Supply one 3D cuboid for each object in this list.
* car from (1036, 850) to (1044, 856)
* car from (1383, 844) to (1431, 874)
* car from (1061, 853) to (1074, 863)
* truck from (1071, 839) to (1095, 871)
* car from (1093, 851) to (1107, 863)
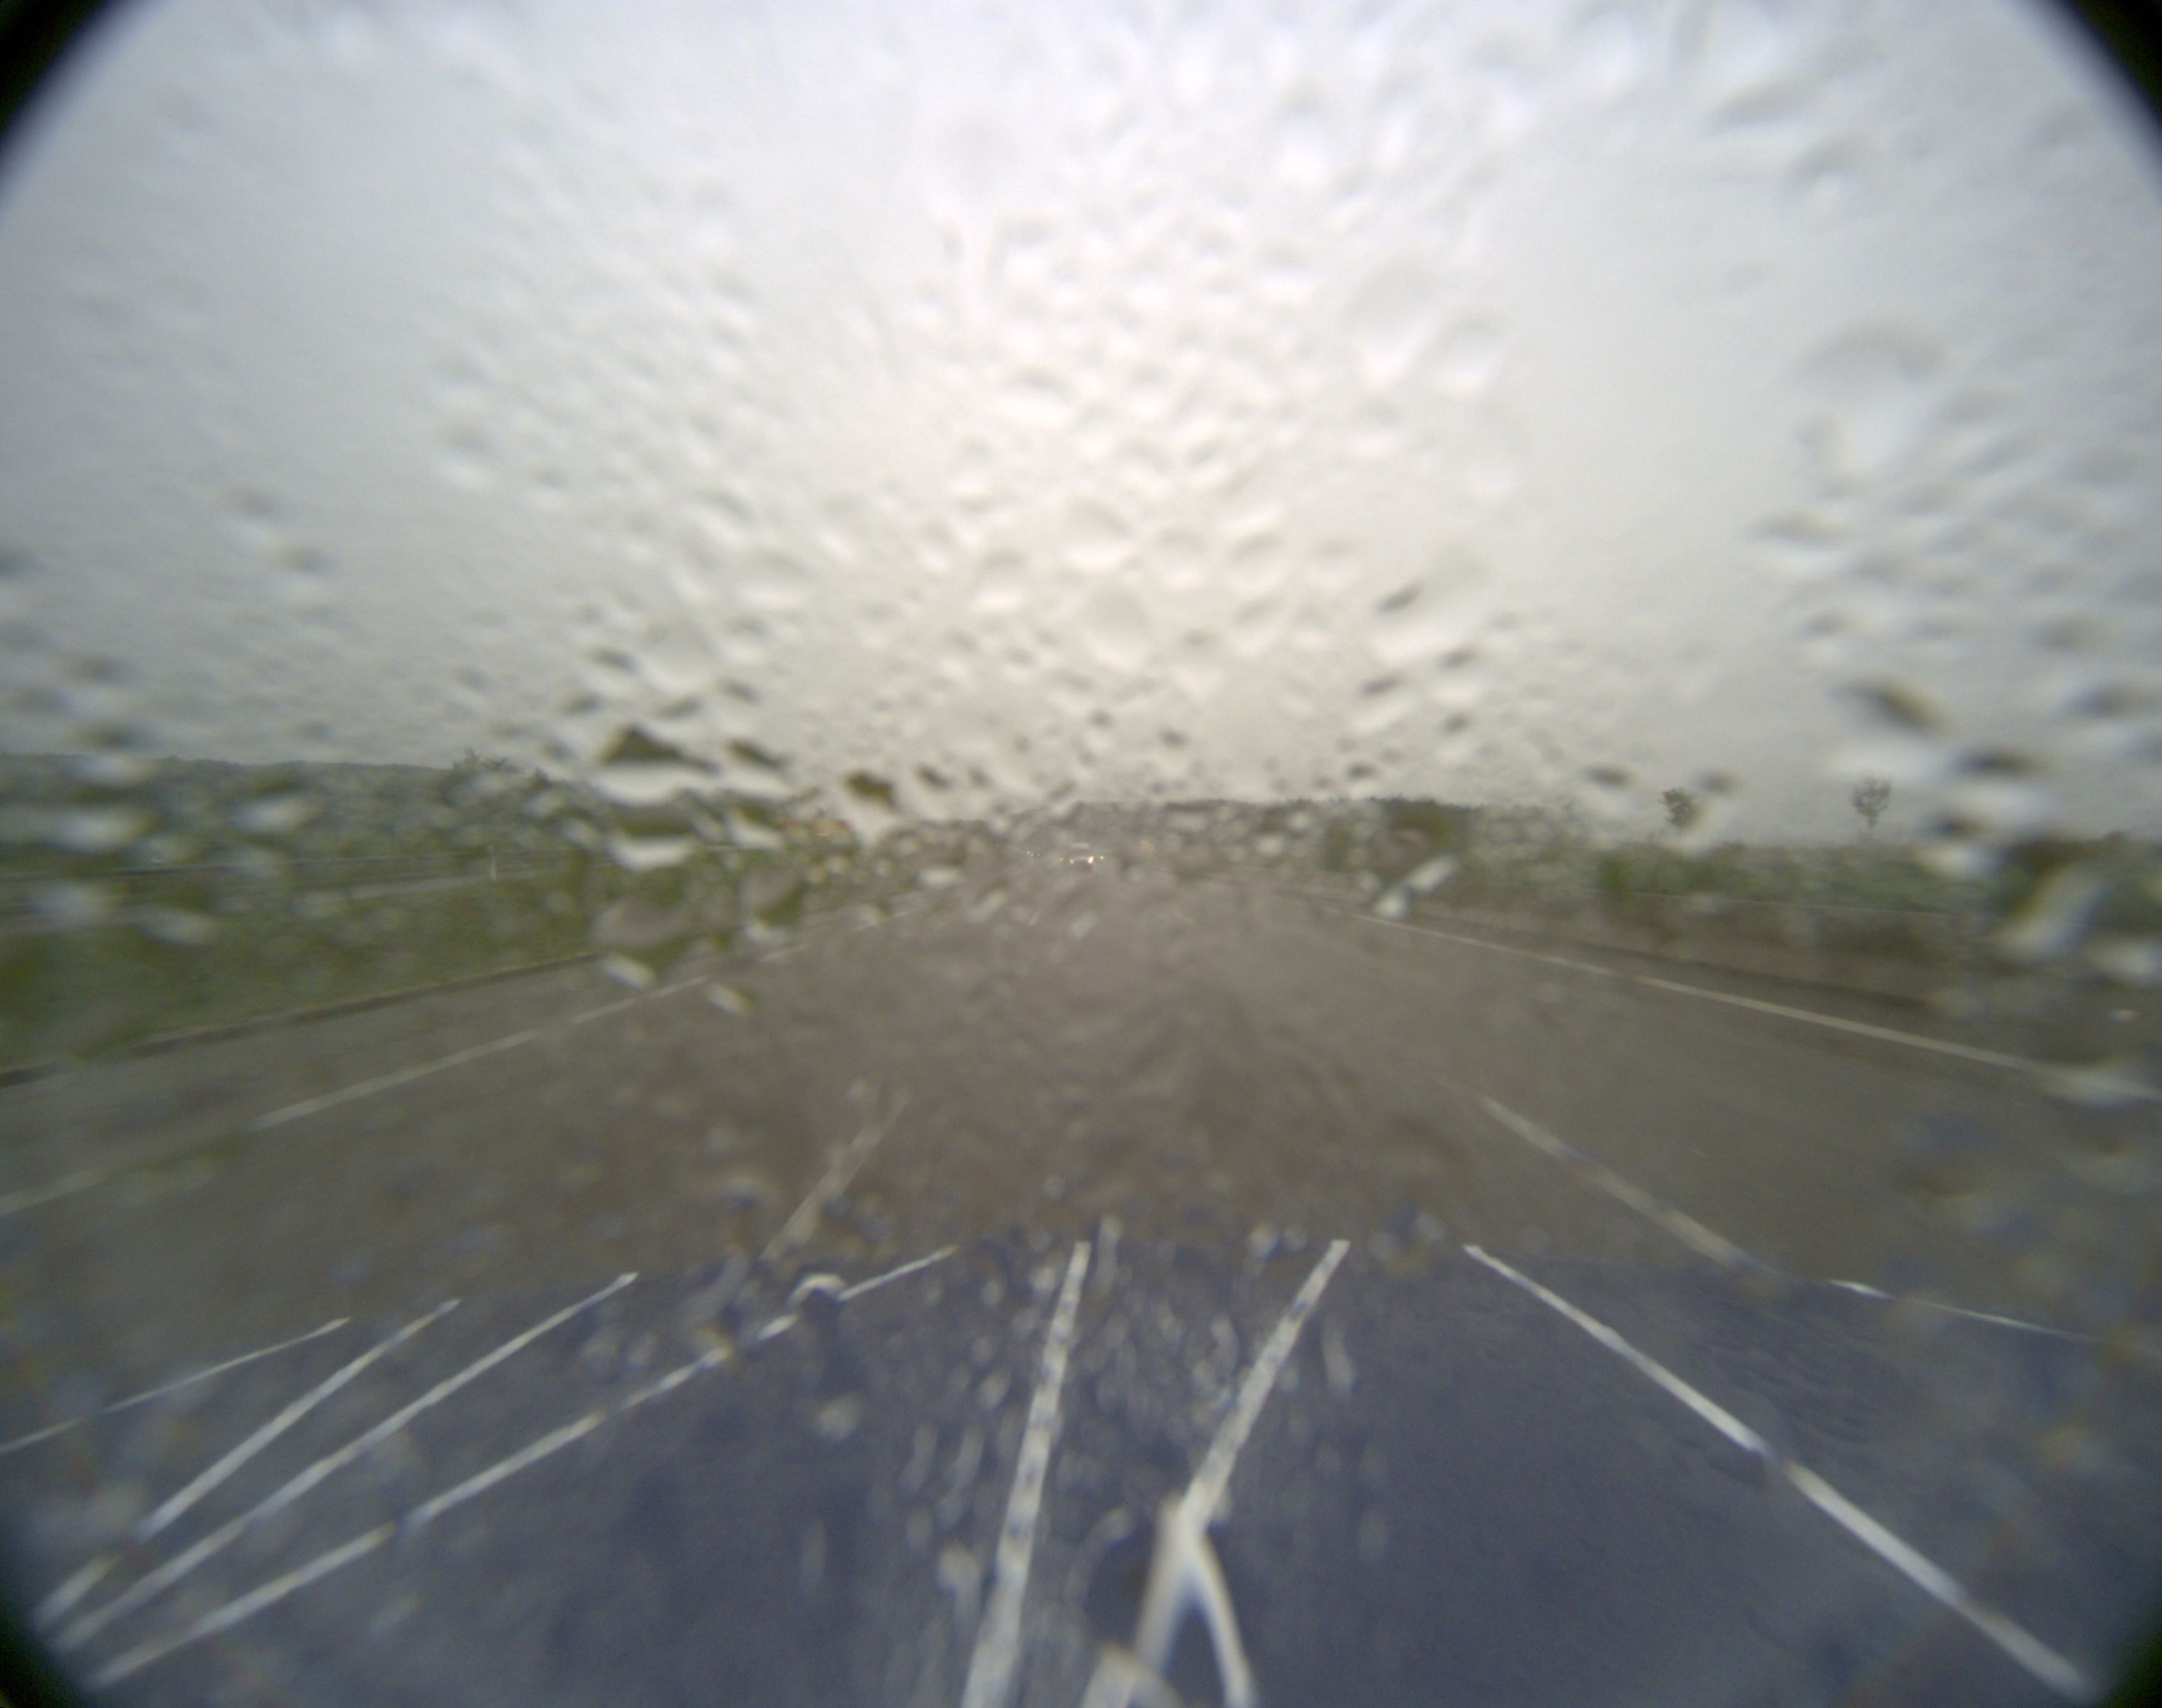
[{"bbox_3d":[-11.292,-0.155,208.675,1.999,1.543,3.998,-2,0,-4],"label":"car"},{"bbox_3d":[19.586,0.295,45.805,1.499,1.717,3.172,-1,1,0],"label":"car"},{"bbox_3d":[-2.243,0.651,121.636,1.999,1.521,3.999,-1,0,-2],"label":"car"},{"bbox_3d":[0.241,0.015,70.366,1.998,2.699,7.998,-2,1,1],"label":"truck"},{"bbox_3d":[2.763,0.440,112.149,1.998,1.608,4.000,-1,0,1],"label":"car"}]
